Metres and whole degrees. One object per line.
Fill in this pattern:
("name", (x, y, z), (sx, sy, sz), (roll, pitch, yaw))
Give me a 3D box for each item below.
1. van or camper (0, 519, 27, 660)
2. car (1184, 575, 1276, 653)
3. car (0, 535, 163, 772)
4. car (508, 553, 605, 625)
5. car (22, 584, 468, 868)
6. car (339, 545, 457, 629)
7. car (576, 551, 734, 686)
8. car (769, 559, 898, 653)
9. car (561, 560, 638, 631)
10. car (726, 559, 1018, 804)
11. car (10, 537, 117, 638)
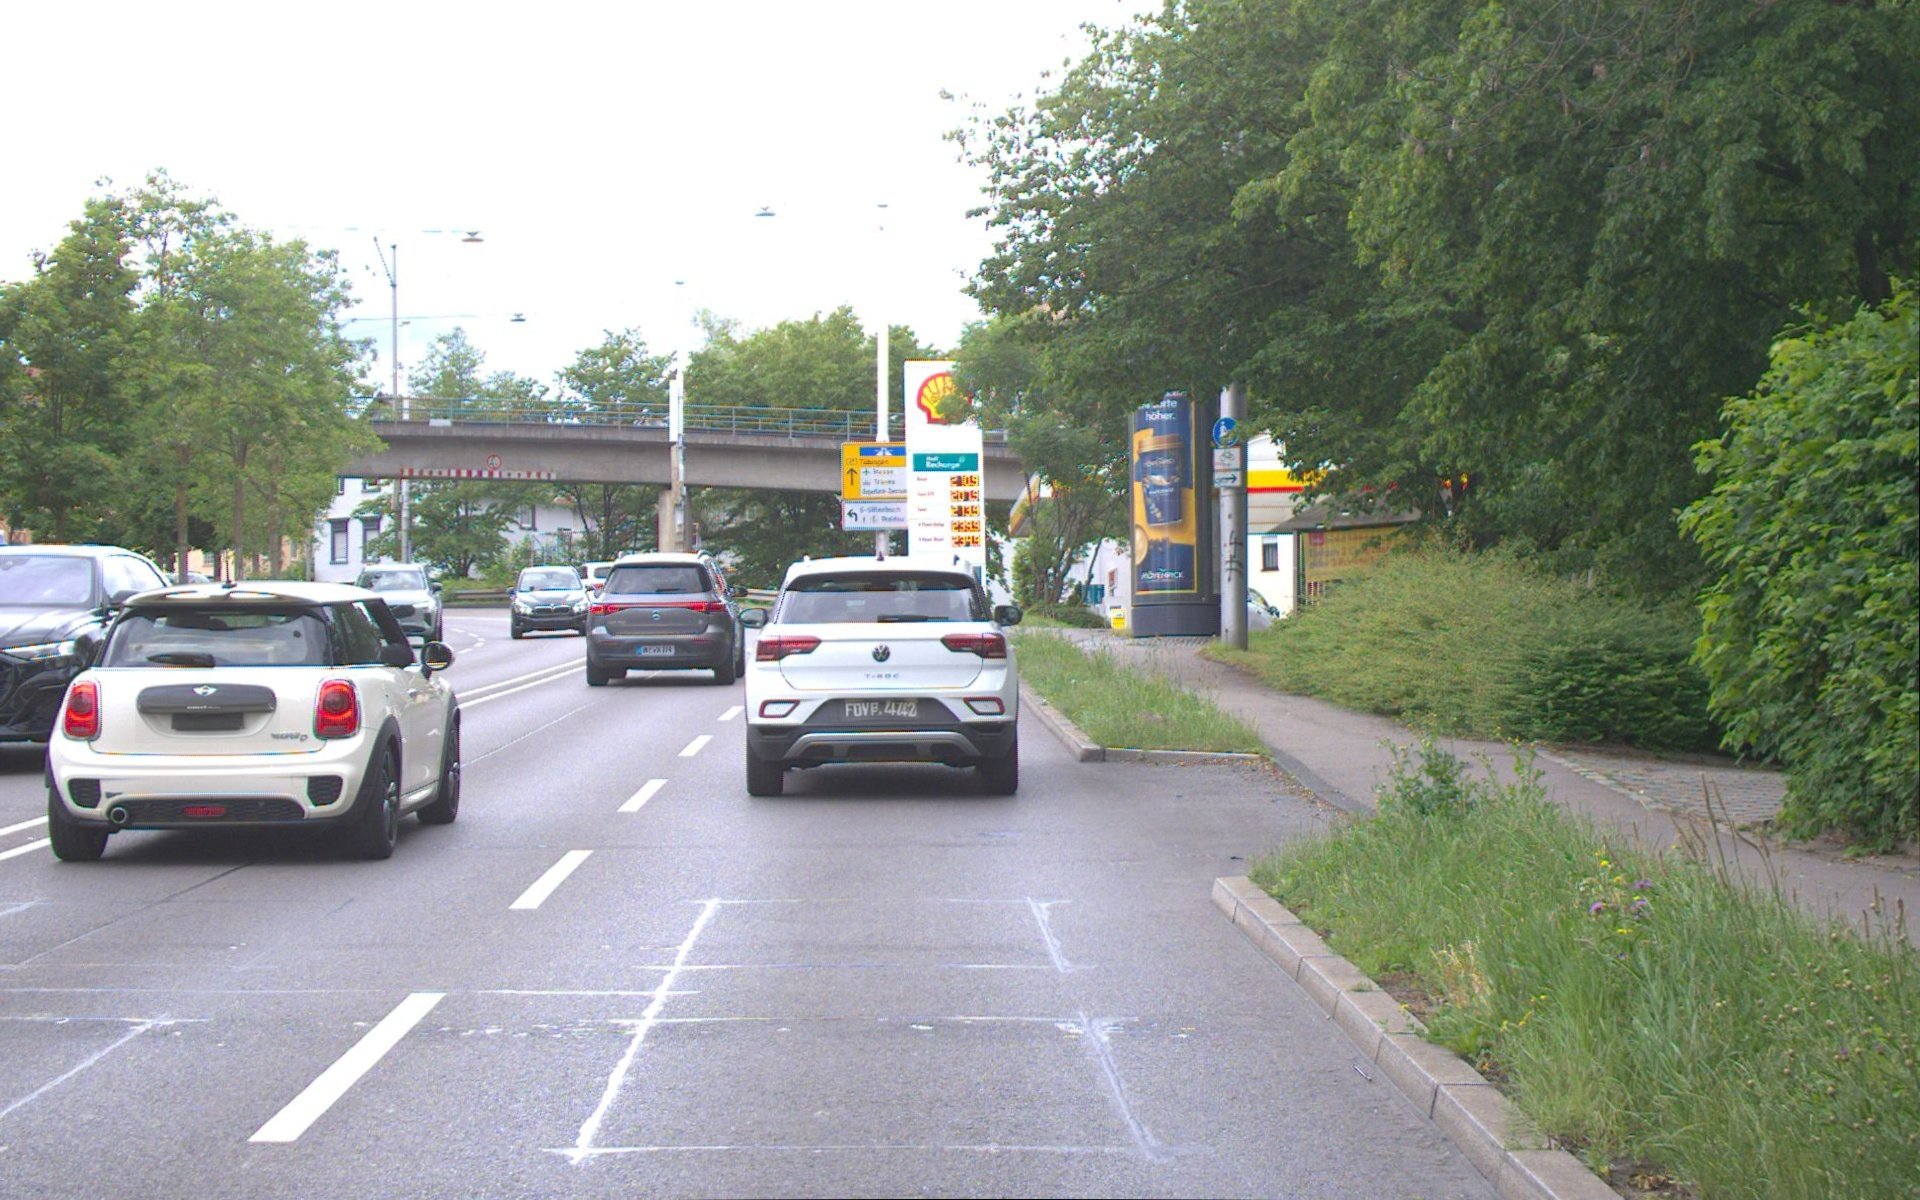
("van or camper", (-17.862, -0.151, 59.121), (1.993, 2.464, 5.710), (-1, 0, 1))
("car", (5.843, 0.325, 74.704), (1.735, 1.481, 3.877), (-1, -3, 1))
("car", (-7.599, 0.387, 27.168), (1.847, 1.697, 4.764), (-1, 0, -5))
("car", (-9.162, -0.264, 78.322), (1.764, 1.587, 4.366), (0, 1, -1))
("car", (-3.737, 0.609, 18.514), (1.722, 1.371, 3.457), (0, 0, -1))
("car", (-11.806, -0.295, 72.467), (1.764, 1.703, 4.870), (0, 1, -1))
("car", (-3.805, 0.208, 43.340), (1.722, 1.634, 3.457), (0, 0, -1))
("car", (-1.999, 0.075, 53.666), (1.675, 1.404, 3.457), (0, 0, -8))
("car", (-10.156, -0.144, 96.681), (1.897, 1.931, 4.001), (-1, 1, -9))
("car", (-0.568, 0.489, 22.976), (1.797, 1.514, 3.457), (0, 0, -1))
("car", (-21.159, -0.294, 81.353), (2.267, 2.265, 6.328), (-1, 0, -13))
